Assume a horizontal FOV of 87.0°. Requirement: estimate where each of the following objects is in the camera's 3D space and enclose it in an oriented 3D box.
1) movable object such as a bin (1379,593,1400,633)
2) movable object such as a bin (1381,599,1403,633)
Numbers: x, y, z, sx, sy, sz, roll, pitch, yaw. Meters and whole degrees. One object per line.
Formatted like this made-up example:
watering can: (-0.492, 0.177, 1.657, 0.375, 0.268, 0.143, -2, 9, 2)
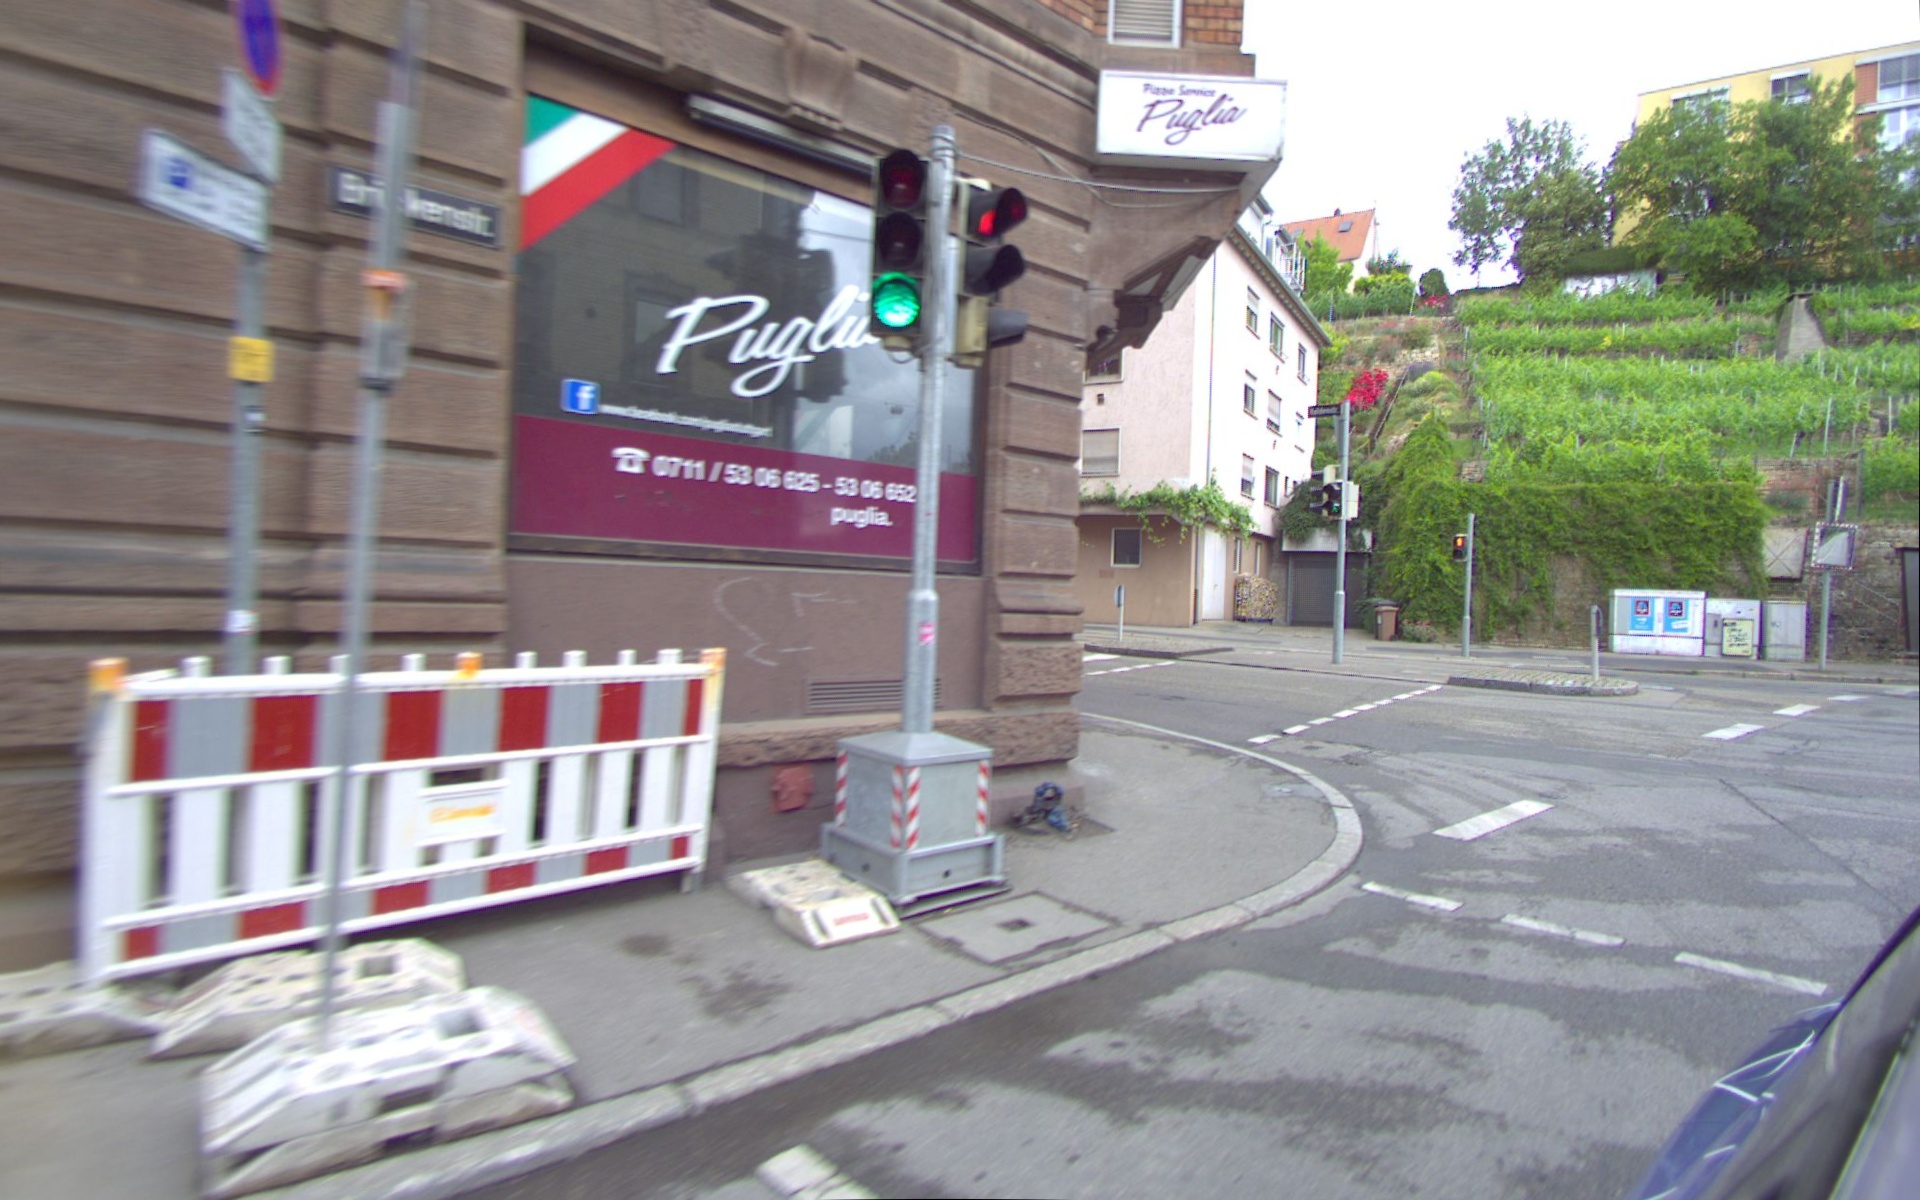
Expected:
movable object such as a bin: (11.807, 0.342, 27.809, 0.466, 1.096, 0.406, 0, 0, 15)
movable object such as a bin: (11.674, 0.433, 27.343, 0.488, 0.923, 0.343, 0, -1, 16)
